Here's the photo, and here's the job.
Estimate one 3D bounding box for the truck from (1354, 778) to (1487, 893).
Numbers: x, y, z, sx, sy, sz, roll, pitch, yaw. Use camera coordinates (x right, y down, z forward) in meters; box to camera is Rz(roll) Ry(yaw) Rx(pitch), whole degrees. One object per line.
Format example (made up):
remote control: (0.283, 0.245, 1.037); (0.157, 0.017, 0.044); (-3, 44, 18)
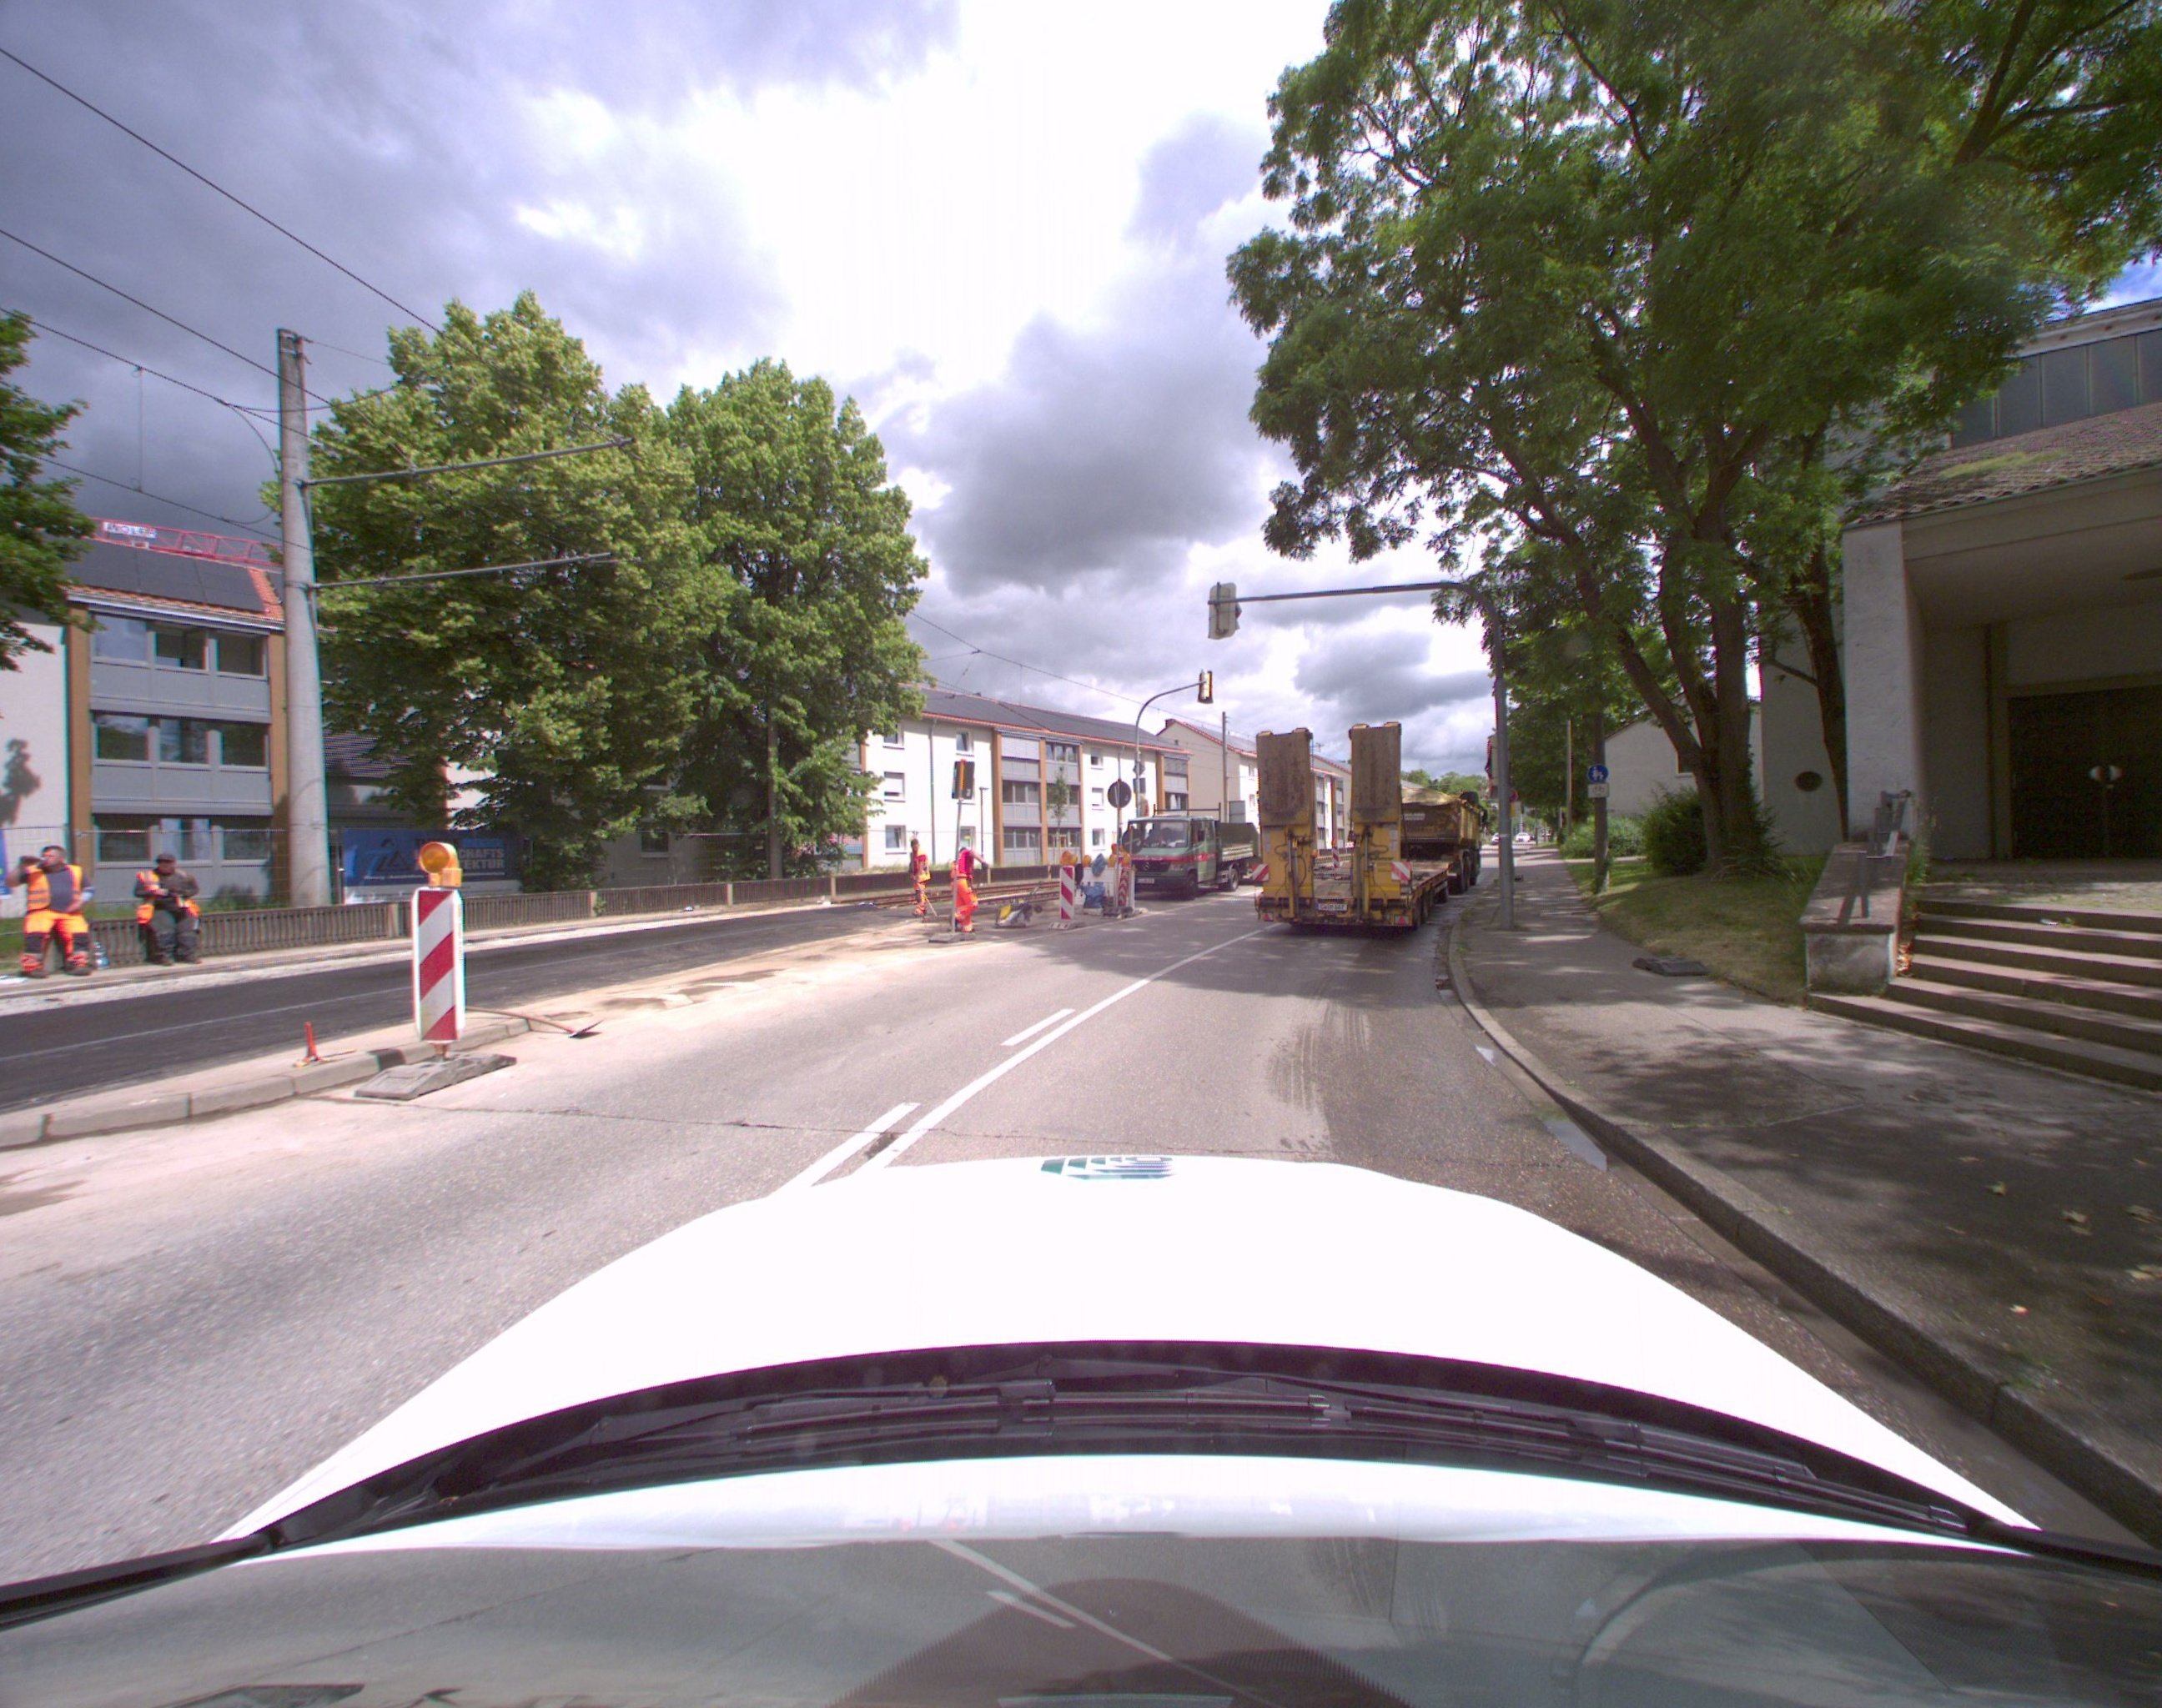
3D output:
truck: (11.185, -0.603, 26.316); (2.889, 3.166, 7.729); (0, 1, 31)

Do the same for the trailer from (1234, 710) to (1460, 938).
trailer: (6.511, -0.494, 18.135); (2.796, 3.524, 11.119); (-1, 0, 28)

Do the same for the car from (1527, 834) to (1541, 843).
car: (79.172, -2.799, 142.261); (1.663, 1.450, 4.100); (-3, 0, 34)

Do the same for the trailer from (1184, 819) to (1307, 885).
trailer: (6.336, -0.132, 30.576); (2.637, 2.213, 6.287); (0, 1, 30)

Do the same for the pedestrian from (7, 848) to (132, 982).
pedestrian: (-12.371, 0.713, 9.994); (0.766, 1.541, 0.789); (-2, 0, -38)

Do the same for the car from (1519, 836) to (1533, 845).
car: (71.117, -2.177, 130.146); (1.634, 1.520, 3.890); (0, 1, 32)

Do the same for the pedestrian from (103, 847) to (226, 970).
pedestrian: (-12.210, 0.691, 10.891); (0.912, 1.533, 0.832); (-2, 0, -38)

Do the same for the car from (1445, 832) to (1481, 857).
car: (26.677, -0.703, 56.809); (1.825, 1.618, 4.269); (-2, 0, 31)

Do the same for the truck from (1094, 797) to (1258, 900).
truck: (3.150, -0.213, 25.075); (2.637, 2.725, 6.436); (0, 1, 30)

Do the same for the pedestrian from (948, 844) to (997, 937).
pedestrian: (-1.895, 0.606, 14.150); (0.763, 1.551, 0.897); (-1, 1, -12)

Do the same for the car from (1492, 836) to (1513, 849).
car: (53.733, -1.466, 103.778); (1.861, 1.481, 4.558); (-2, 0, 33)

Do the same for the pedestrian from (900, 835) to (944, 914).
pedestrian: (-3.445, 0.453, 17.677); (0.700, 1.668, 0.830); (-1, -2, 8)
